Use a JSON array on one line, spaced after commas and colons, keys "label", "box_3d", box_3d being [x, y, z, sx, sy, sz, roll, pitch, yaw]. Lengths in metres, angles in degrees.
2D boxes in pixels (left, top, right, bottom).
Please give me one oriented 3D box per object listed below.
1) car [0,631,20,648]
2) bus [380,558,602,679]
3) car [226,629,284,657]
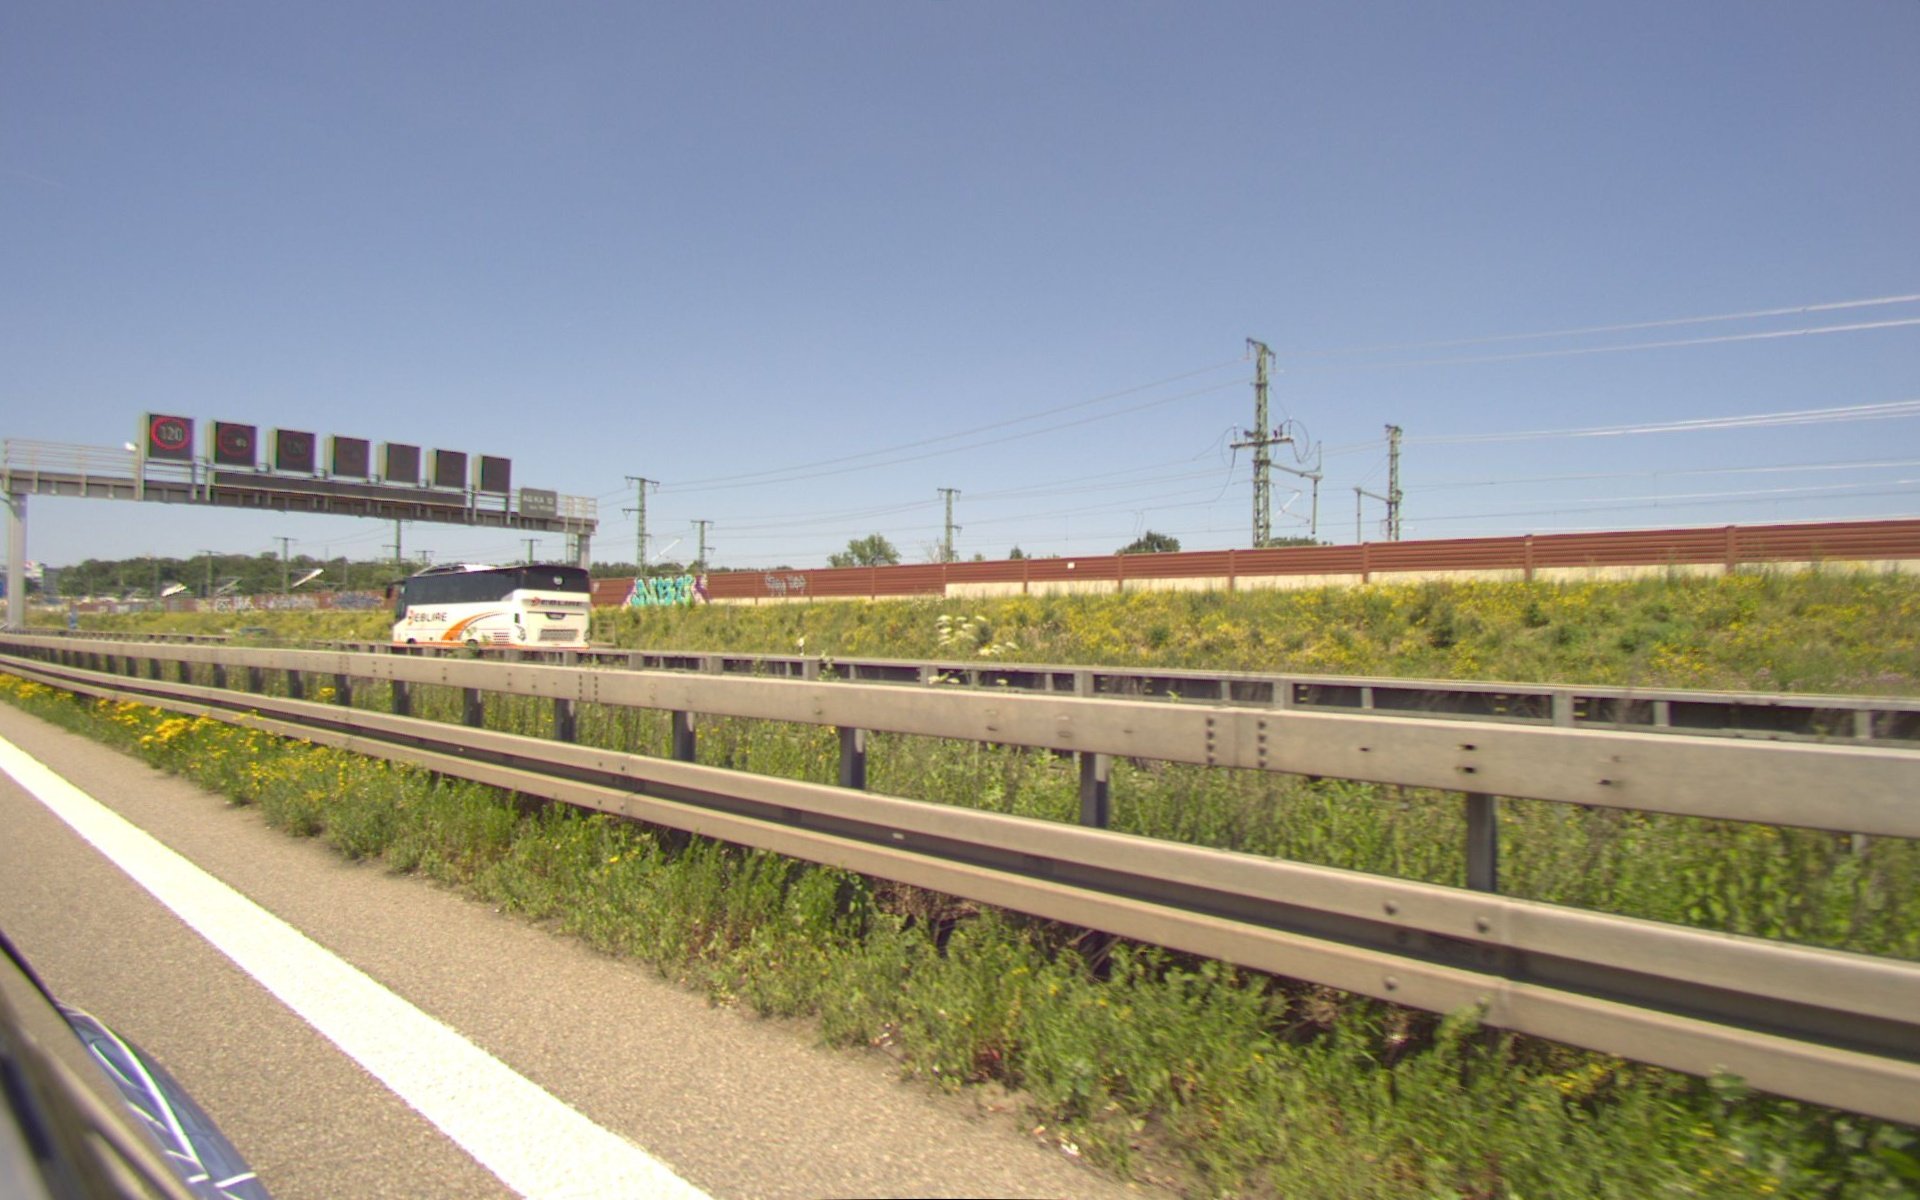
[{"label": "car", "box_3d": [-91.411, 3.742, 96.807, 3.999, 1.586, 1.785, -2, -1, 42]}, {"label": "bus", "box_3d": [-16.671, 0.638, 35.359, 10.935, 3.673, 2.827, -2, 0, 41]}, {"label": "car", "box_3d": [-39.112, 2.394, 56.097, 3.998, 1.485, 1.674, -1, -4, 42]}]
